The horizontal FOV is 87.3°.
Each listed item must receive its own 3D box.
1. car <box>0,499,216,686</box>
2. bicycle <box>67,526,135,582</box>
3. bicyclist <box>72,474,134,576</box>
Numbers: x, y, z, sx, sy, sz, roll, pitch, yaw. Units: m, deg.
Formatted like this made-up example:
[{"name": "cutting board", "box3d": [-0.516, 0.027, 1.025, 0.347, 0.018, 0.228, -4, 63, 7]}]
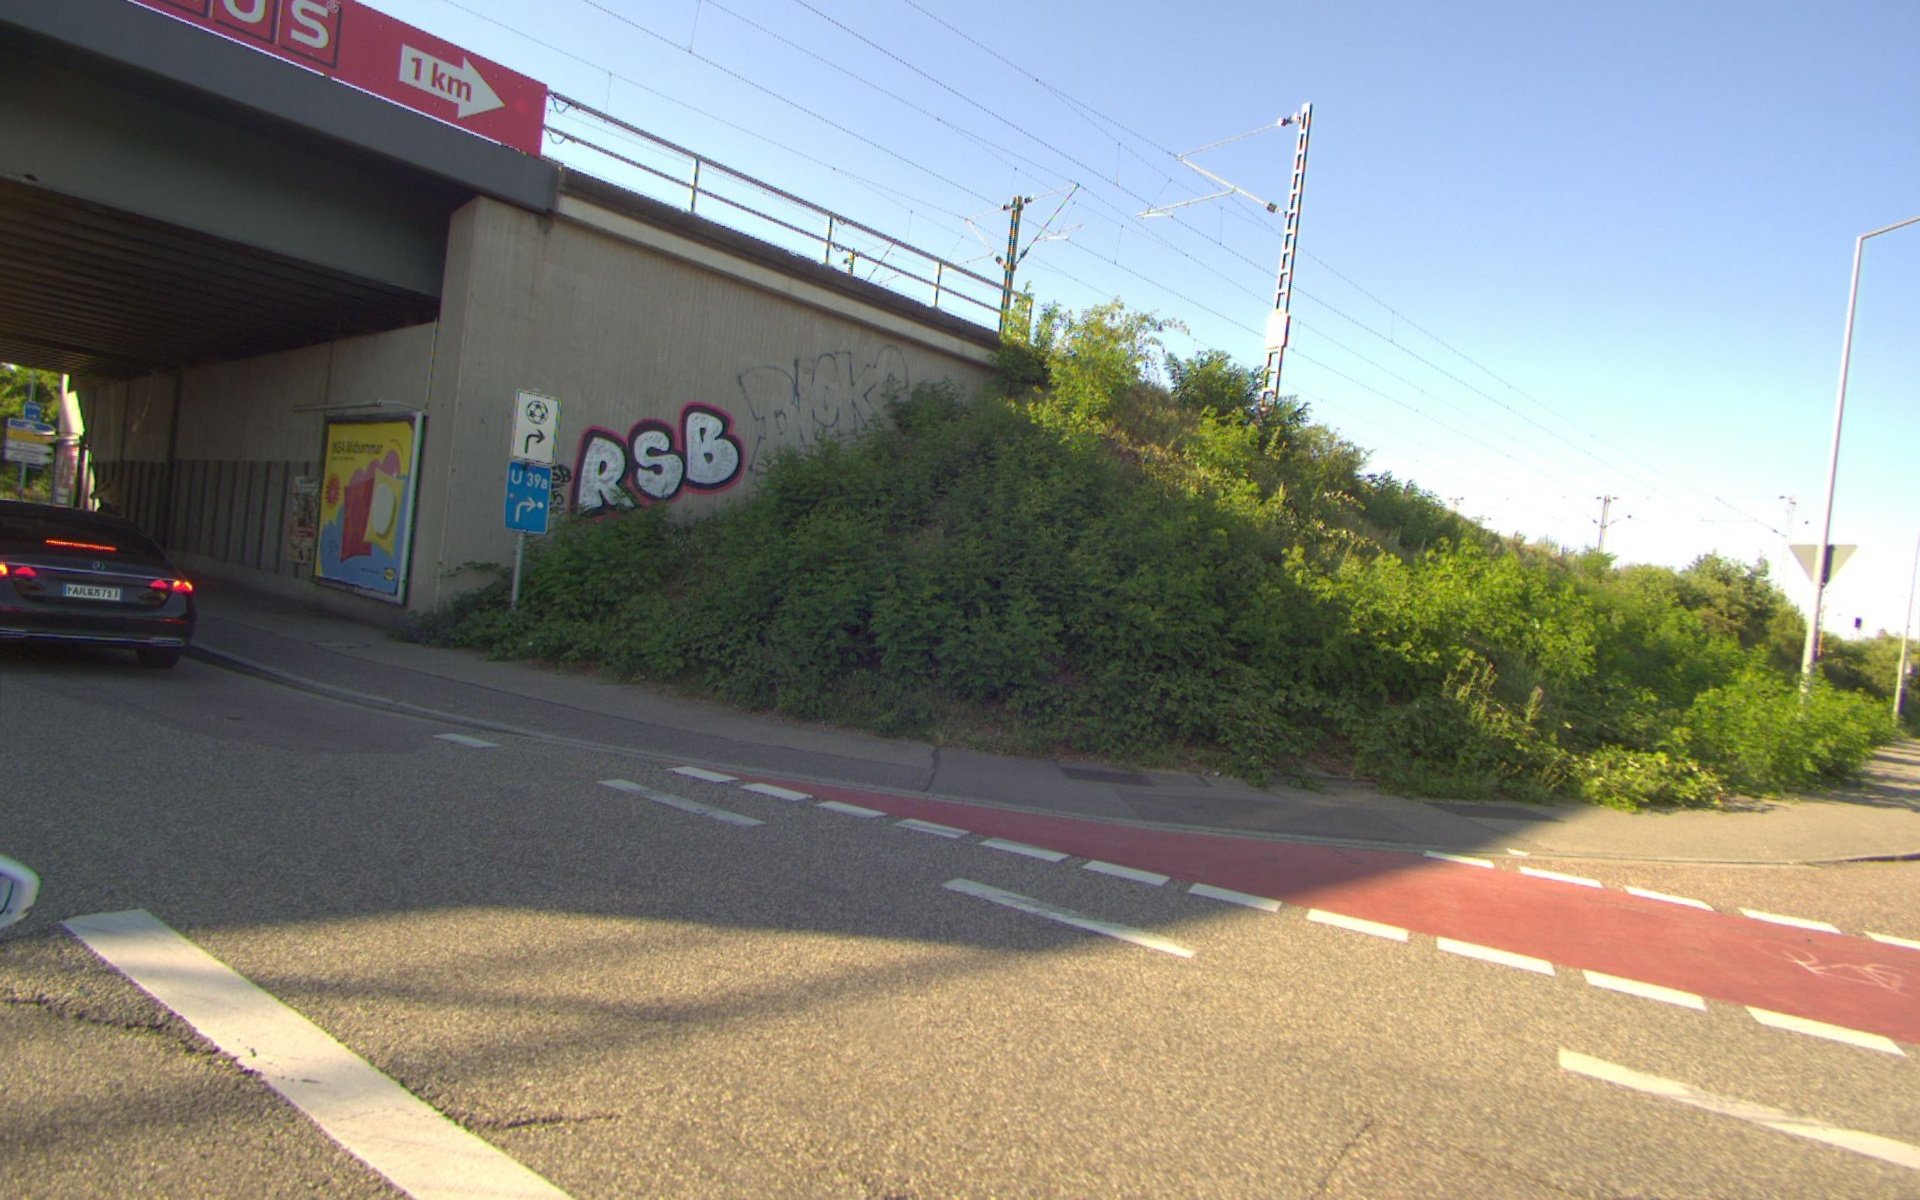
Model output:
[{"name": "car", "box3d": [-9.414, -0.223, 10.063, 4.533, 1.472, 1.741, 7, 0, 35]}, {"name": "bicycle", "box3d": [-17.338, -0.944, 20.280, 2.846, 0.975, 0.578, 5, -1, 41]}, {"name": "bicyclist", "box3d": [-17.205, -1.494, 20.198, 0.821, 1.930, 0.681, 6, 0, 40]}]
